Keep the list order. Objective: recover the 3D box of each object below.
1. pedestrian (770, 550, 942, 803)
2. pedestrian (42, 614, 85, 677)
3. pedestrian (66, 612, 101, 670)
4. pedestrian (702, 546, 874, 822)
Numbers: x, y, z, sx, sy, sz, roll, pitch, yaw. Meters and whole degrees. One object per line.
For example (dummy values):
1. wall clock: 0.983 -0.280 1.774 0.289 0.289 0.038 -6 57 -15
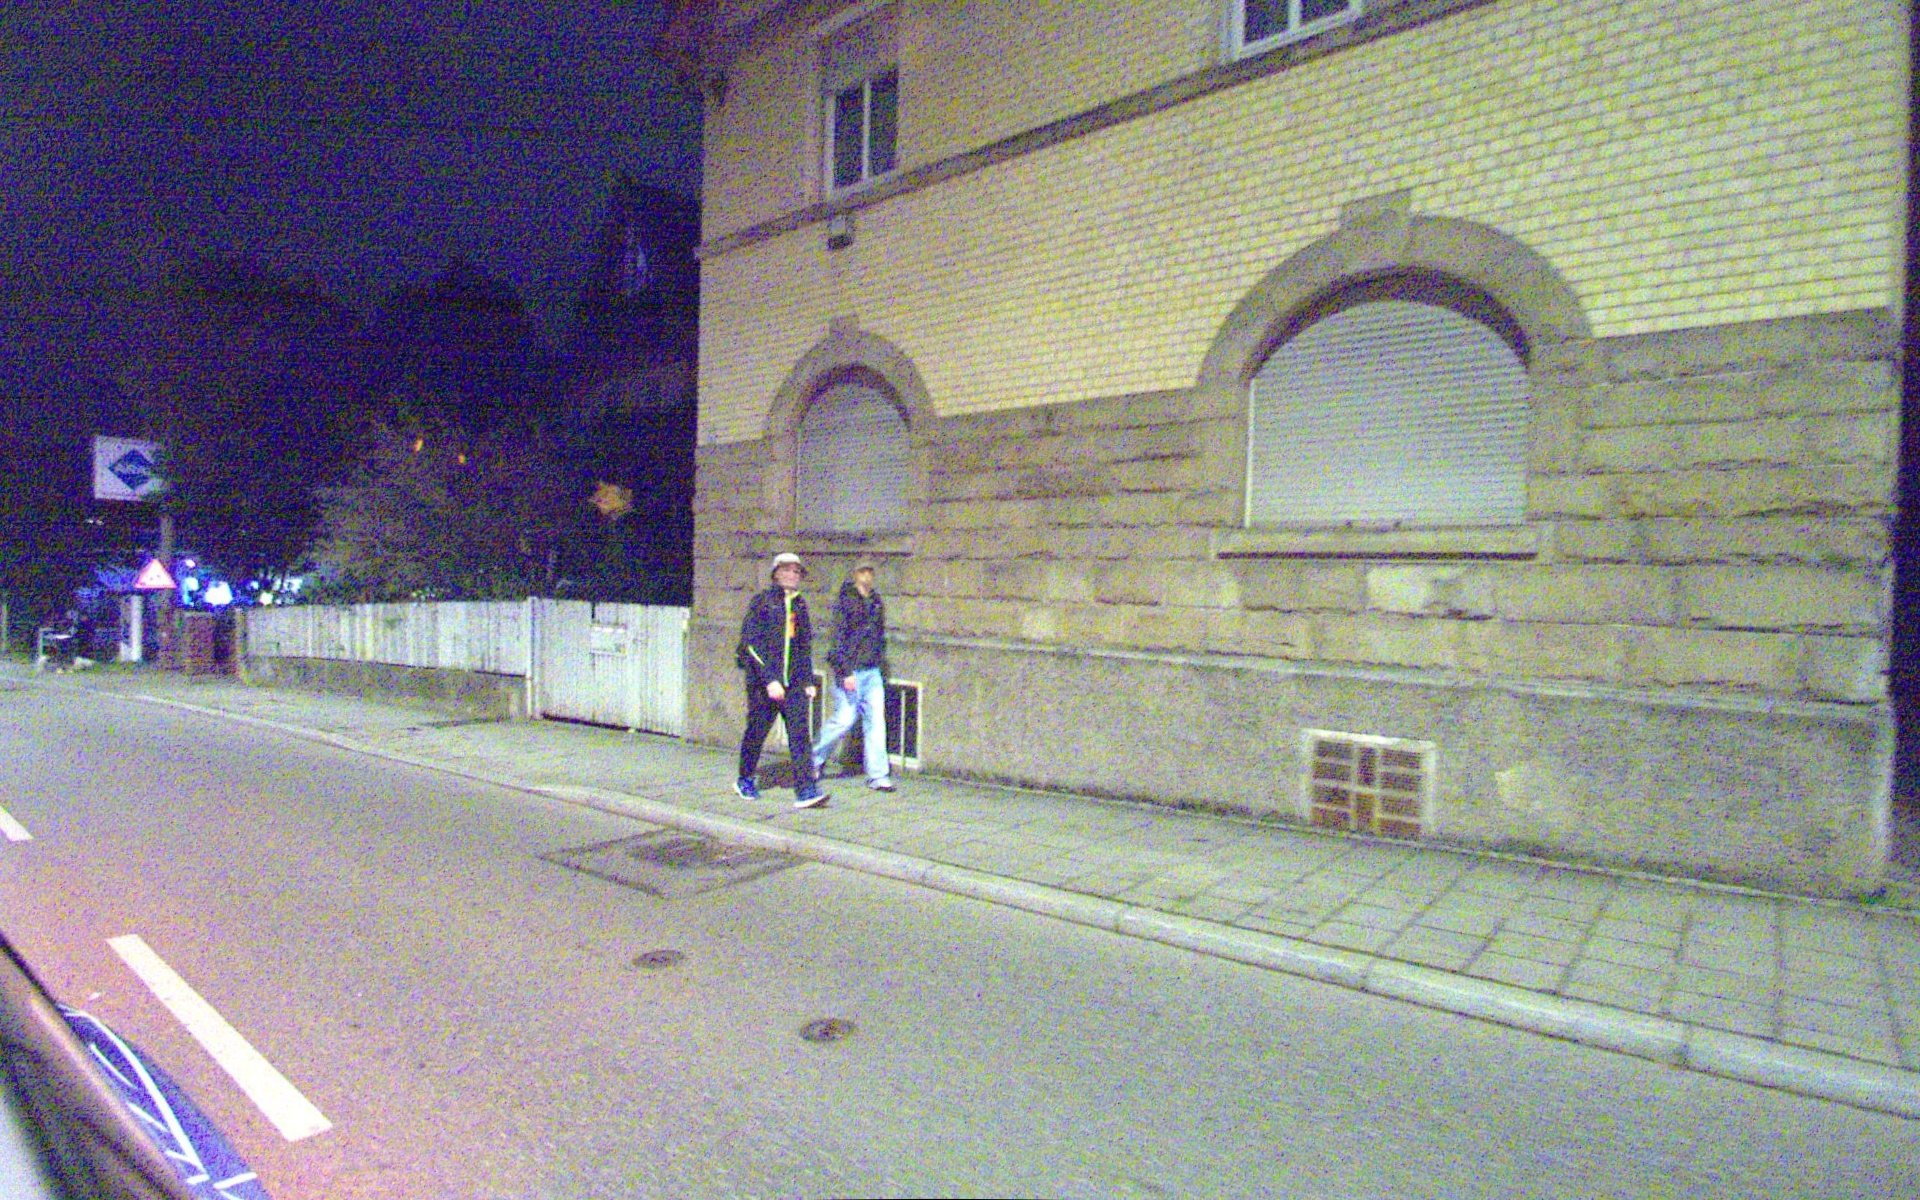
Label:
1. pedestrian: -0.796 0.536 7.676 1.102 1.758 0.734 -1 0 40
2. pedestrian: -24.491 1.218 27.642 1.102 1.684 0.734 -1 0 40
3. pedestrian: -27.022 1.247 31.208 0.865 1.739 0.662 -2 -1 38
4. pedestrian: -1.201 0.540 7.036 1.028 1.758 0.668 -1 0 40
